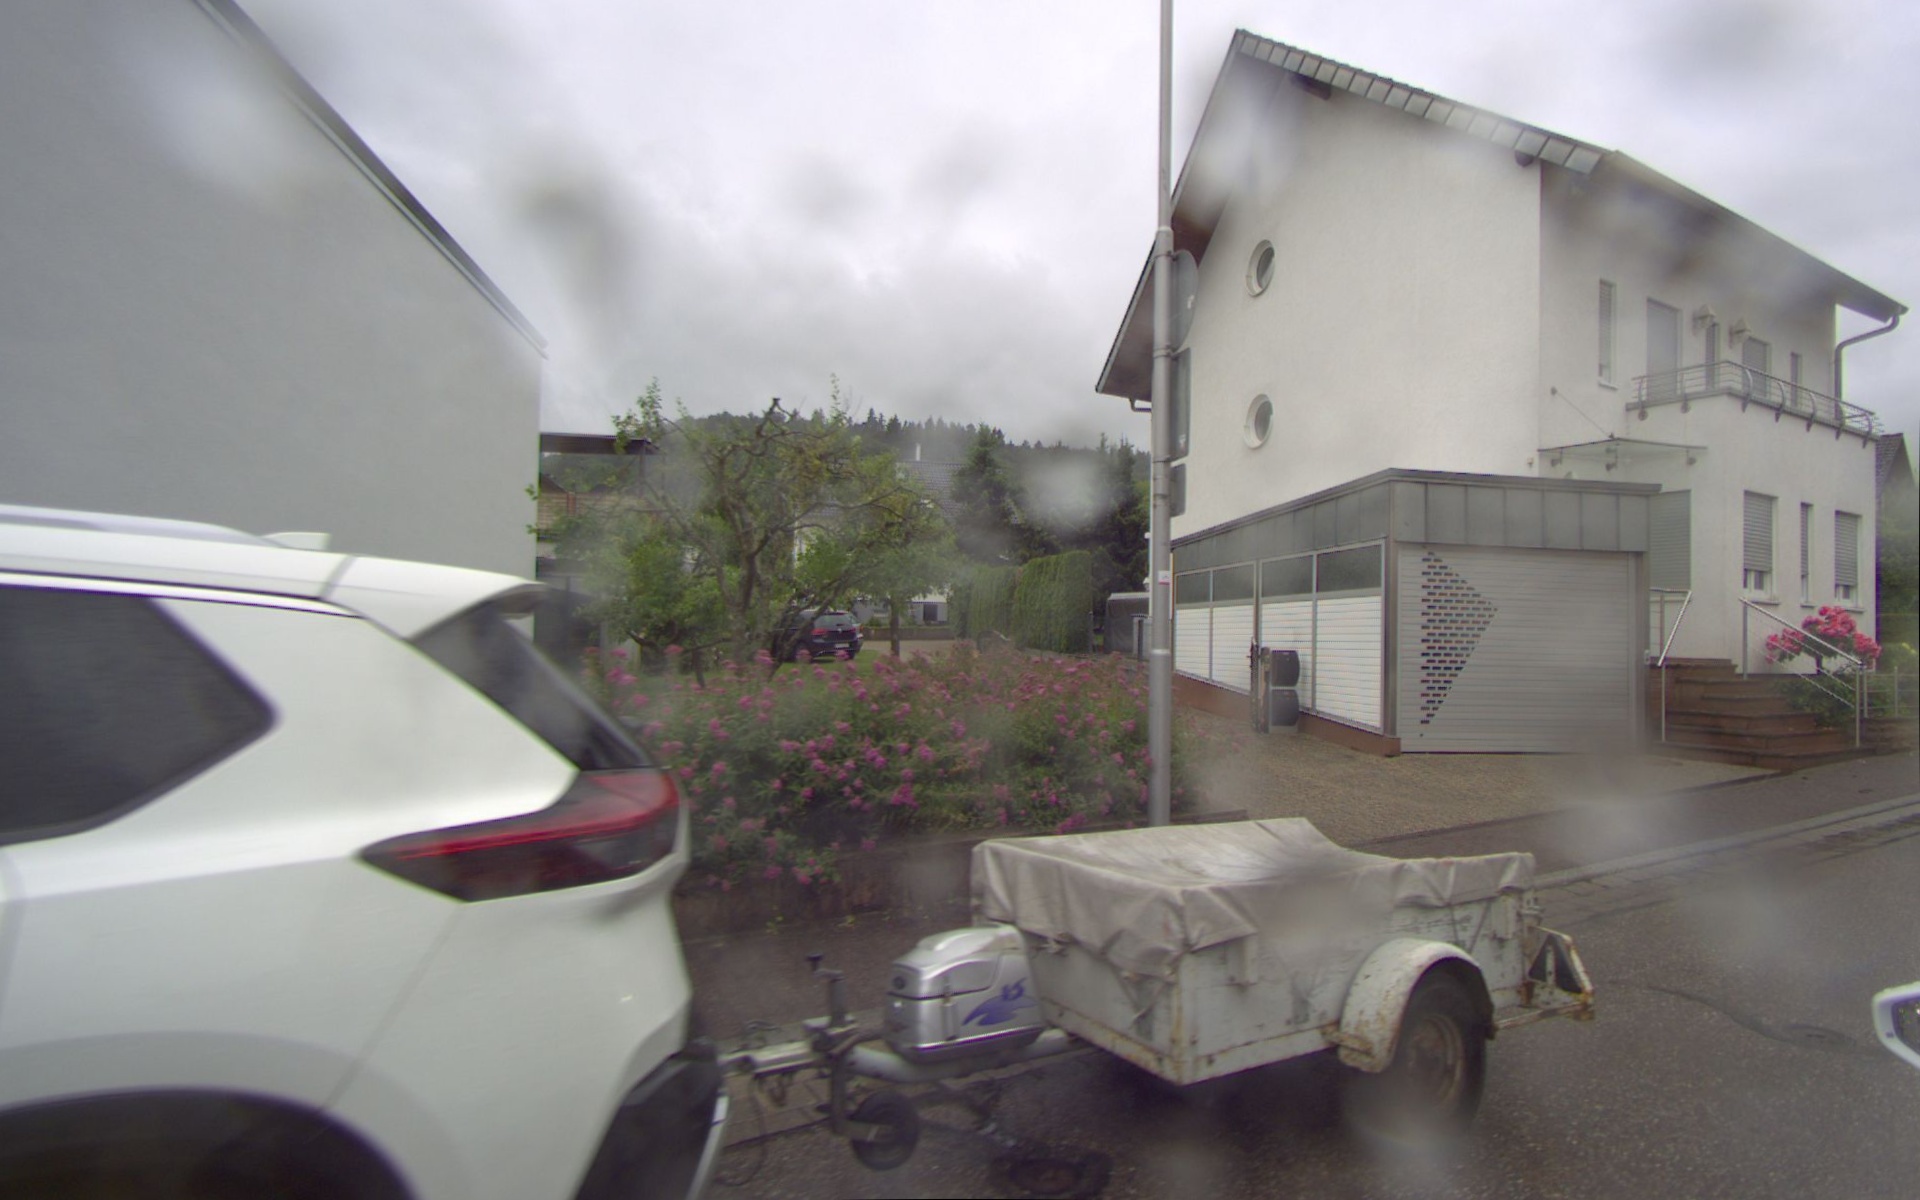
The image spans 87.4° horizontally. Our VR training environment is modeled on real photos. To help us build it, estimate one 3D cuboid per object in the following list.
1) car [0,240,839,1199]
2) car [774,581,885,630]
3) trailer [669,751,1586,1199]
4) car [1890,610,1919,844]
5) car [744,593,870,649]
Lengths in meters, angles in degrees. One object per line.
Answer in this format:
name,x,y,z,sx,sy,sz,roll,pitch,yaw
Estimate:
car,-2.536,0.382,1.382,4.366,1.657,1.741,3,-4,-30
car,-4.377,0.199,33.323,1.981,1.439,3.960,4,-3,-36
trailer,0.581,1.010,3.287,2.646,0.839,1.476,4,-4,-31
car,8.489,0.888,7.383,3.896,1.585,1.677,2,-4,-36
car,-4.441,0.575,28.723,1.981,1.439,3.959,2,0,-36
